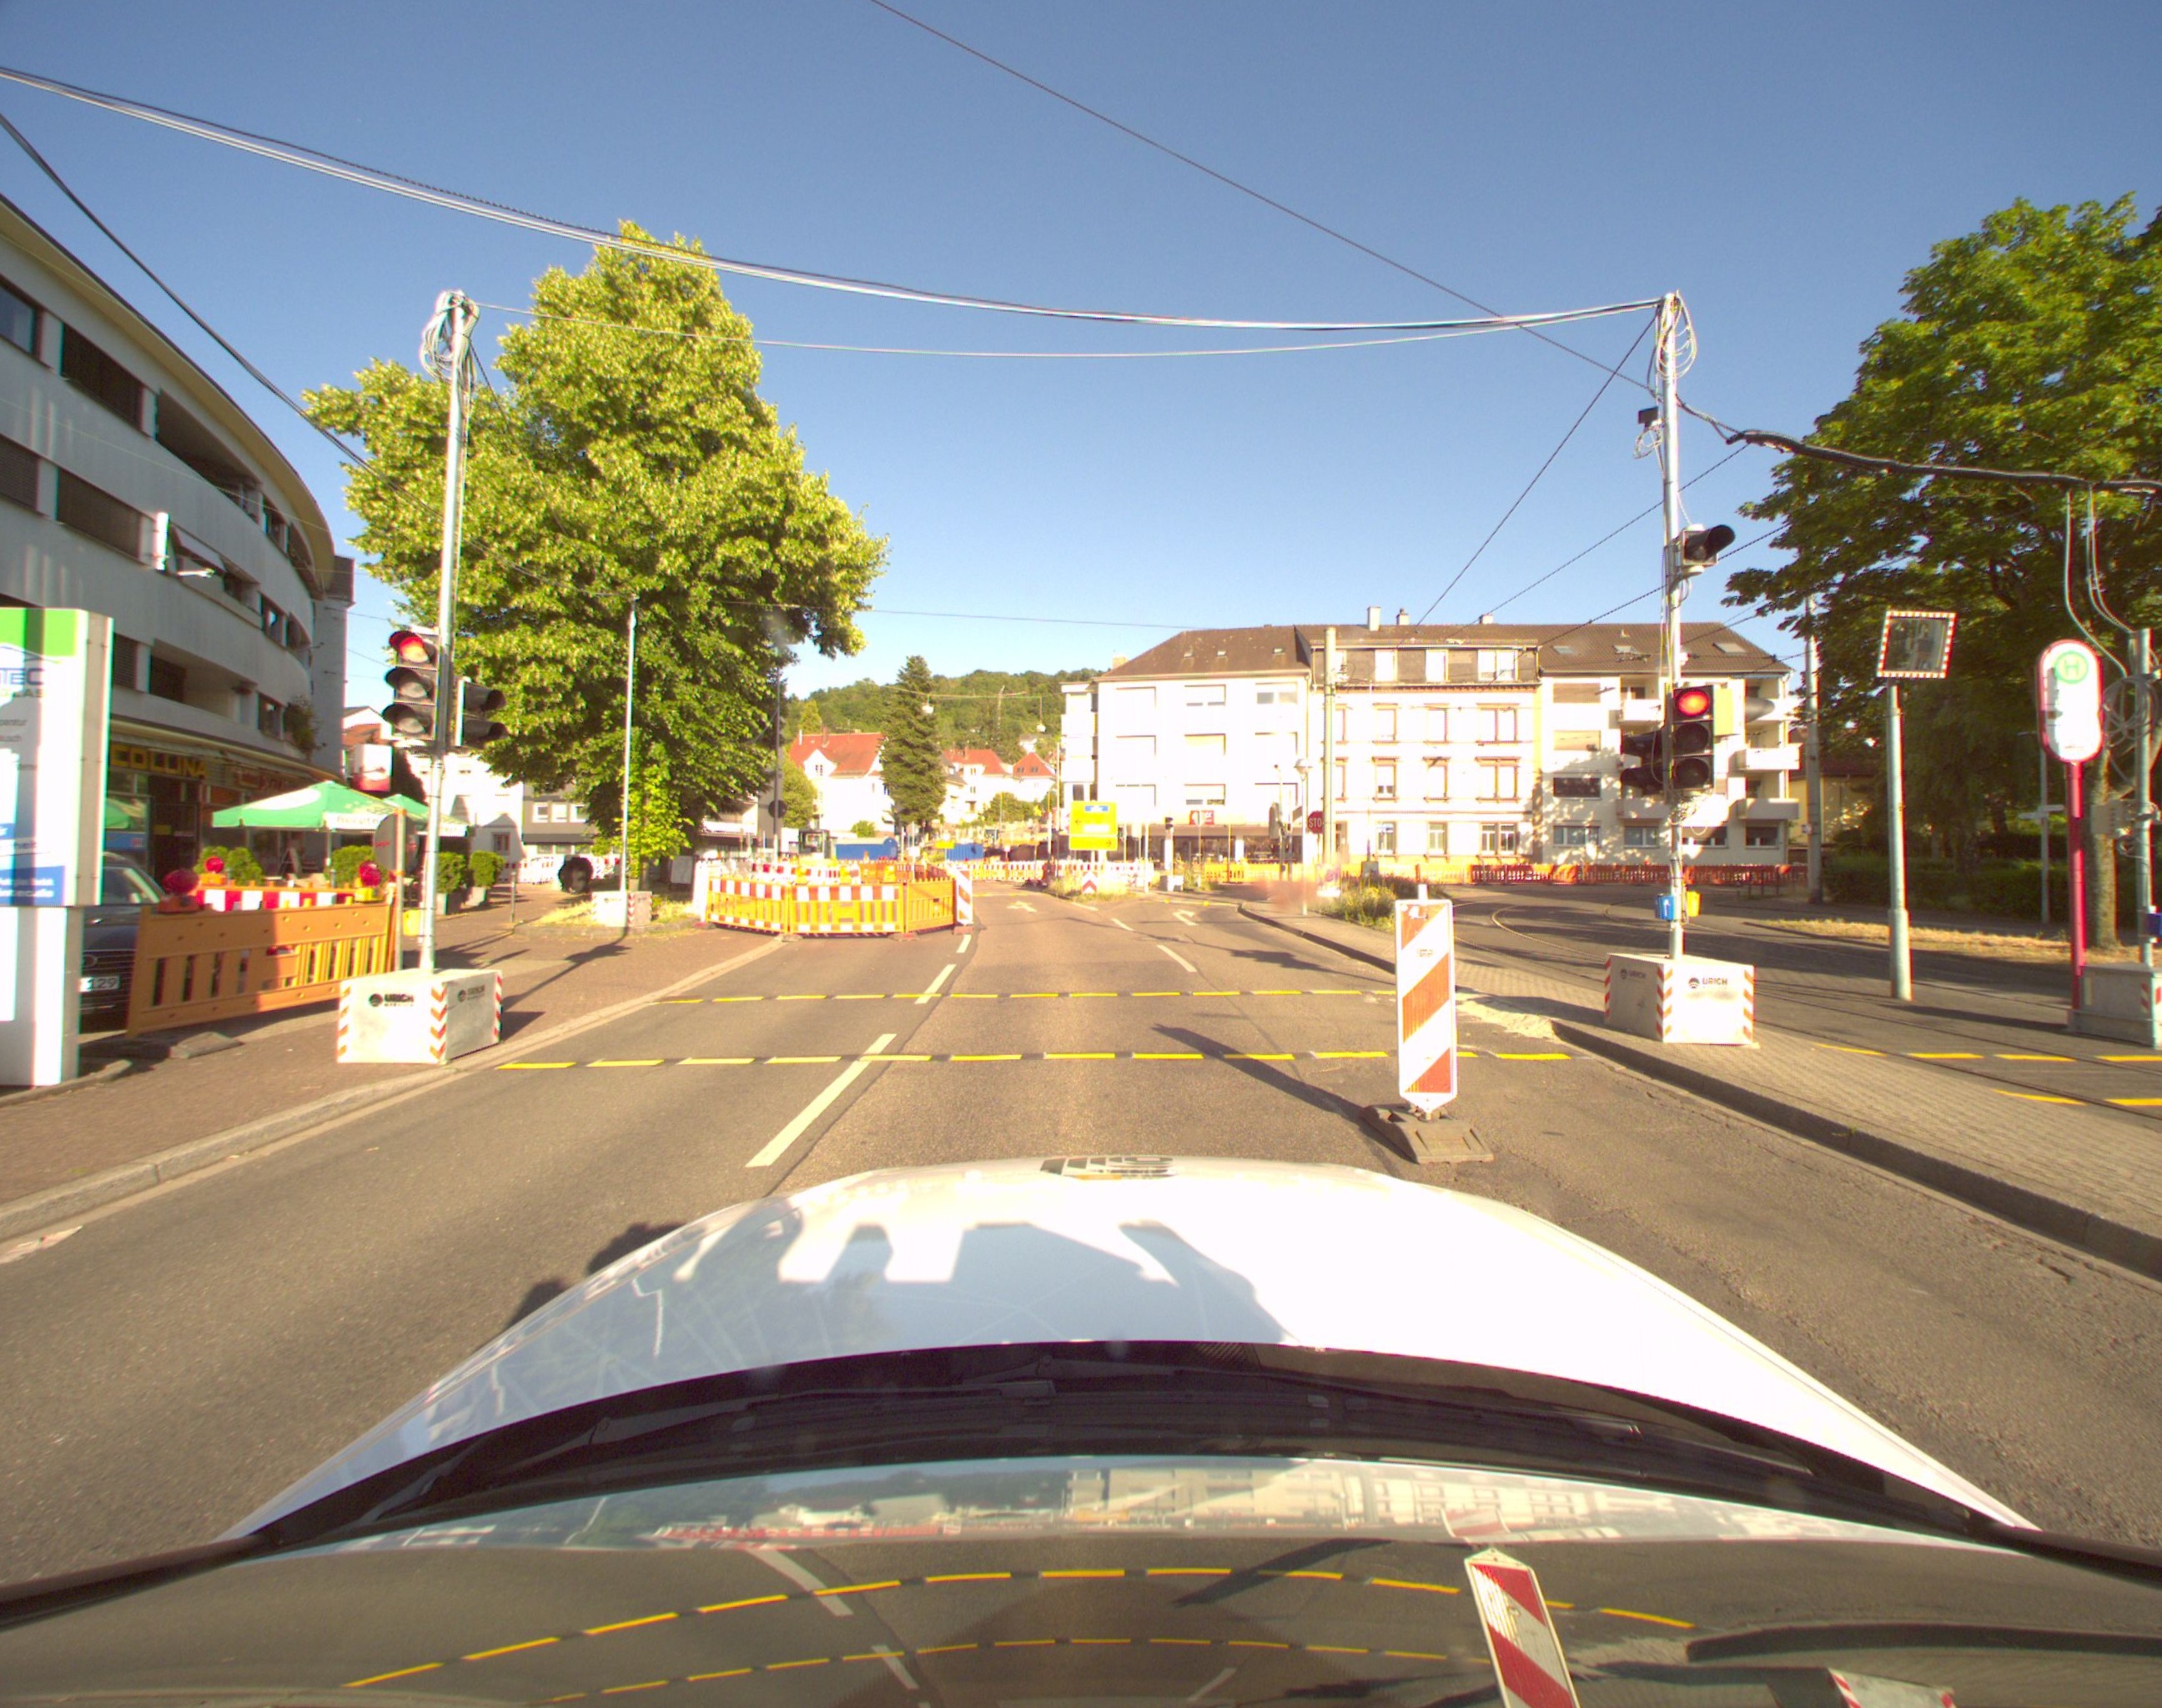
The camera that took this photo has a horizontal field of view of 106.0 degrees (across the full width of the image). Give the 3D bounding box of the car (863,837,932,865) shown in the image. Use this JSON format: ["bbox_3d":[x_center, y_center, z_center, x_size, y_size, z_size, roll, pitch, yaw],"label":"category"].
[{"bbox_3d":[-14.920,-0.228,66.699,2.562,2.121,6.181,-1,-1,20],"label":"car"}]

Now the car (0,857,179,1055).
[{"bbox_3d":[-9.319,0.779,7.309,3.835,1.438,1.606,-1,0,42],"label":"car"}]

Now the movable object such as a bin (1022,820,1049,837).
[{"bbox_3d":[-6.419,-3.595,115.293,2.549,2.122,5.801,-1,-1,11],"label":"movable object such as a bin"}]

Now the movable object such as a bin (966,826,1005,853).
[{"bbox_3d":[-9.240,-1.349,79.393,1.932,2.494,4.574,-1,-1,20],"label":"movable object such as a bin"}]

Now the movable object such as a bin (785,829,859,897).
[{"bbox_3d":[-9.405,0.299,29.874,1.643,2.324,3.916,0,0,-3],"label":"movable object such as a bin"}]
